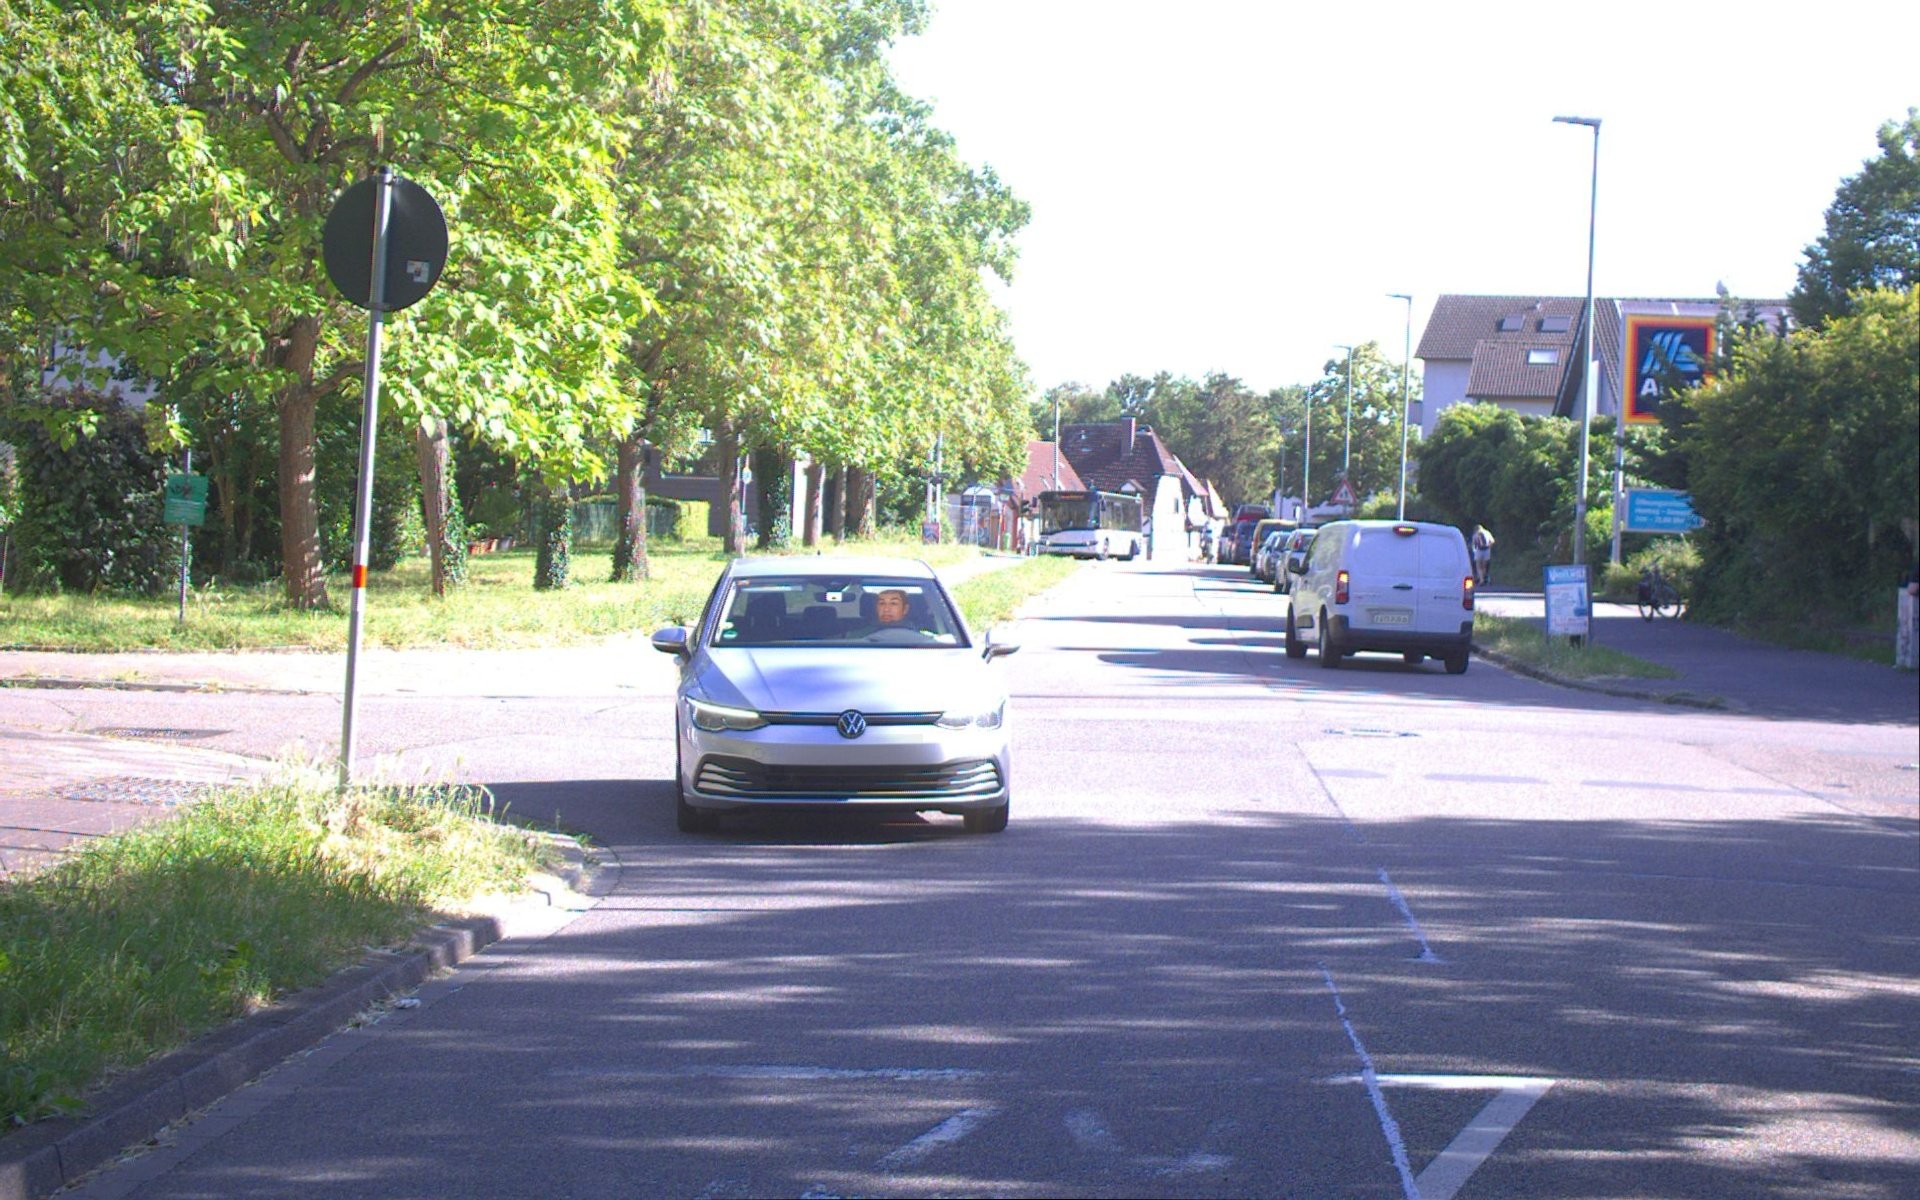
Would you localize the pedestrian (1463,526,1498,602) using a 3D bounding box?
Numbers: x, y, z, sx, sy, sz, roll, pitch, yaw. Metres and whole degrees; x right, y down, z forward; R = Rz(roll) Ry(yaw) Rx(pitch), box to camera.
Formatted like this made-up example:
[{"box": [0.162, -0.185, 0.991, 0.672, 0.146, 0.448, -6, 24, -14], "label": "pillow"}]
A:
[{"box": [14.025, -0.977, 92.646, 0.641, 2.007, 0.701, 4, 1, -3], "label": "pedestrian"}]

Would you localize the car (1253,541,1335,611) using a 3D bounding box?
[{"box": [8.181, -0.609, 84.437, 1.781, 1.647, 4.000, 1, 1, 3], "label": "car"}]

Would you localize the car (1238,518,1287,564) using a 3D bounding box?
[{"box": [12.270, -2.389, 139.709, 1.781, 1.802, 4.000, 1, 1, 3], "label": "car"}]

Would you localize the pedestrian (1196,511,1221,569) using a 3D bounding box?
[{"box": [9.186, -2.224, 127.151, 0.752, 2.106, 0.799, 4, 1, 6], "label": "pedestrian"}]

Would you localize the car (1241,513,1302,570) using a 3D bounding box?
[{"box": [10.239, -1.918, 113.144, 1.781, 1.802, 4.000, 1, 1, 3], "label": "car"}]

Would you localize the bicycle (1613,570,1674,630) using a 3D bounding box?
[{"box": [12.397, 0.007, 62.328, 0.638, 1.023, 2.162, 4, 1, 21], "label": "bicycle"}]

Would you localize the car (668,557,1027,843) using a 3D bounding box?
[{"box": [-0.720, 0.483, 19.360, 1.805, 1.415, 3.960, 0, 1, -4], "label": "car"}]

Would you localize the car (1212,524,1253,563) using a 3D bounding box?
[{"box": [13.163, -2.714, 166.118, 1.781, 1.802, 4.000, 1, 1, 3], "label": "car"}]

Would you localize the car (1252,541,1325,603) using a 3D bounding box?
[{"box": [9.129, -0.796, 95.747, 1.781, 1.647, 4.000, 1, 1, 3], "label": "car"}]

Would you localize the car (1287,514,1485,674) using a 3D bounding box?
[{"box": [5.309, -0.108, 43.284, 1.946, 1.836, 4.000, 2, 1, 0], "label": "car"}]

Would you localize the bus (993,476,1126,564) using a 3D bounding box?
[{"box": [4.053, -3.177, 137.406, 4.066, 3.337, 9.797, 1, 1, 9], "label": "bus"}]

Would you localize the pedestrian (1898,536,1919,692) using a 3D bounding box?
[{"box": [10.609, 0.157, 37.461, 0.569, 1.677, 0.514, 2, 1, 0], "label": "pedestrian"}]
